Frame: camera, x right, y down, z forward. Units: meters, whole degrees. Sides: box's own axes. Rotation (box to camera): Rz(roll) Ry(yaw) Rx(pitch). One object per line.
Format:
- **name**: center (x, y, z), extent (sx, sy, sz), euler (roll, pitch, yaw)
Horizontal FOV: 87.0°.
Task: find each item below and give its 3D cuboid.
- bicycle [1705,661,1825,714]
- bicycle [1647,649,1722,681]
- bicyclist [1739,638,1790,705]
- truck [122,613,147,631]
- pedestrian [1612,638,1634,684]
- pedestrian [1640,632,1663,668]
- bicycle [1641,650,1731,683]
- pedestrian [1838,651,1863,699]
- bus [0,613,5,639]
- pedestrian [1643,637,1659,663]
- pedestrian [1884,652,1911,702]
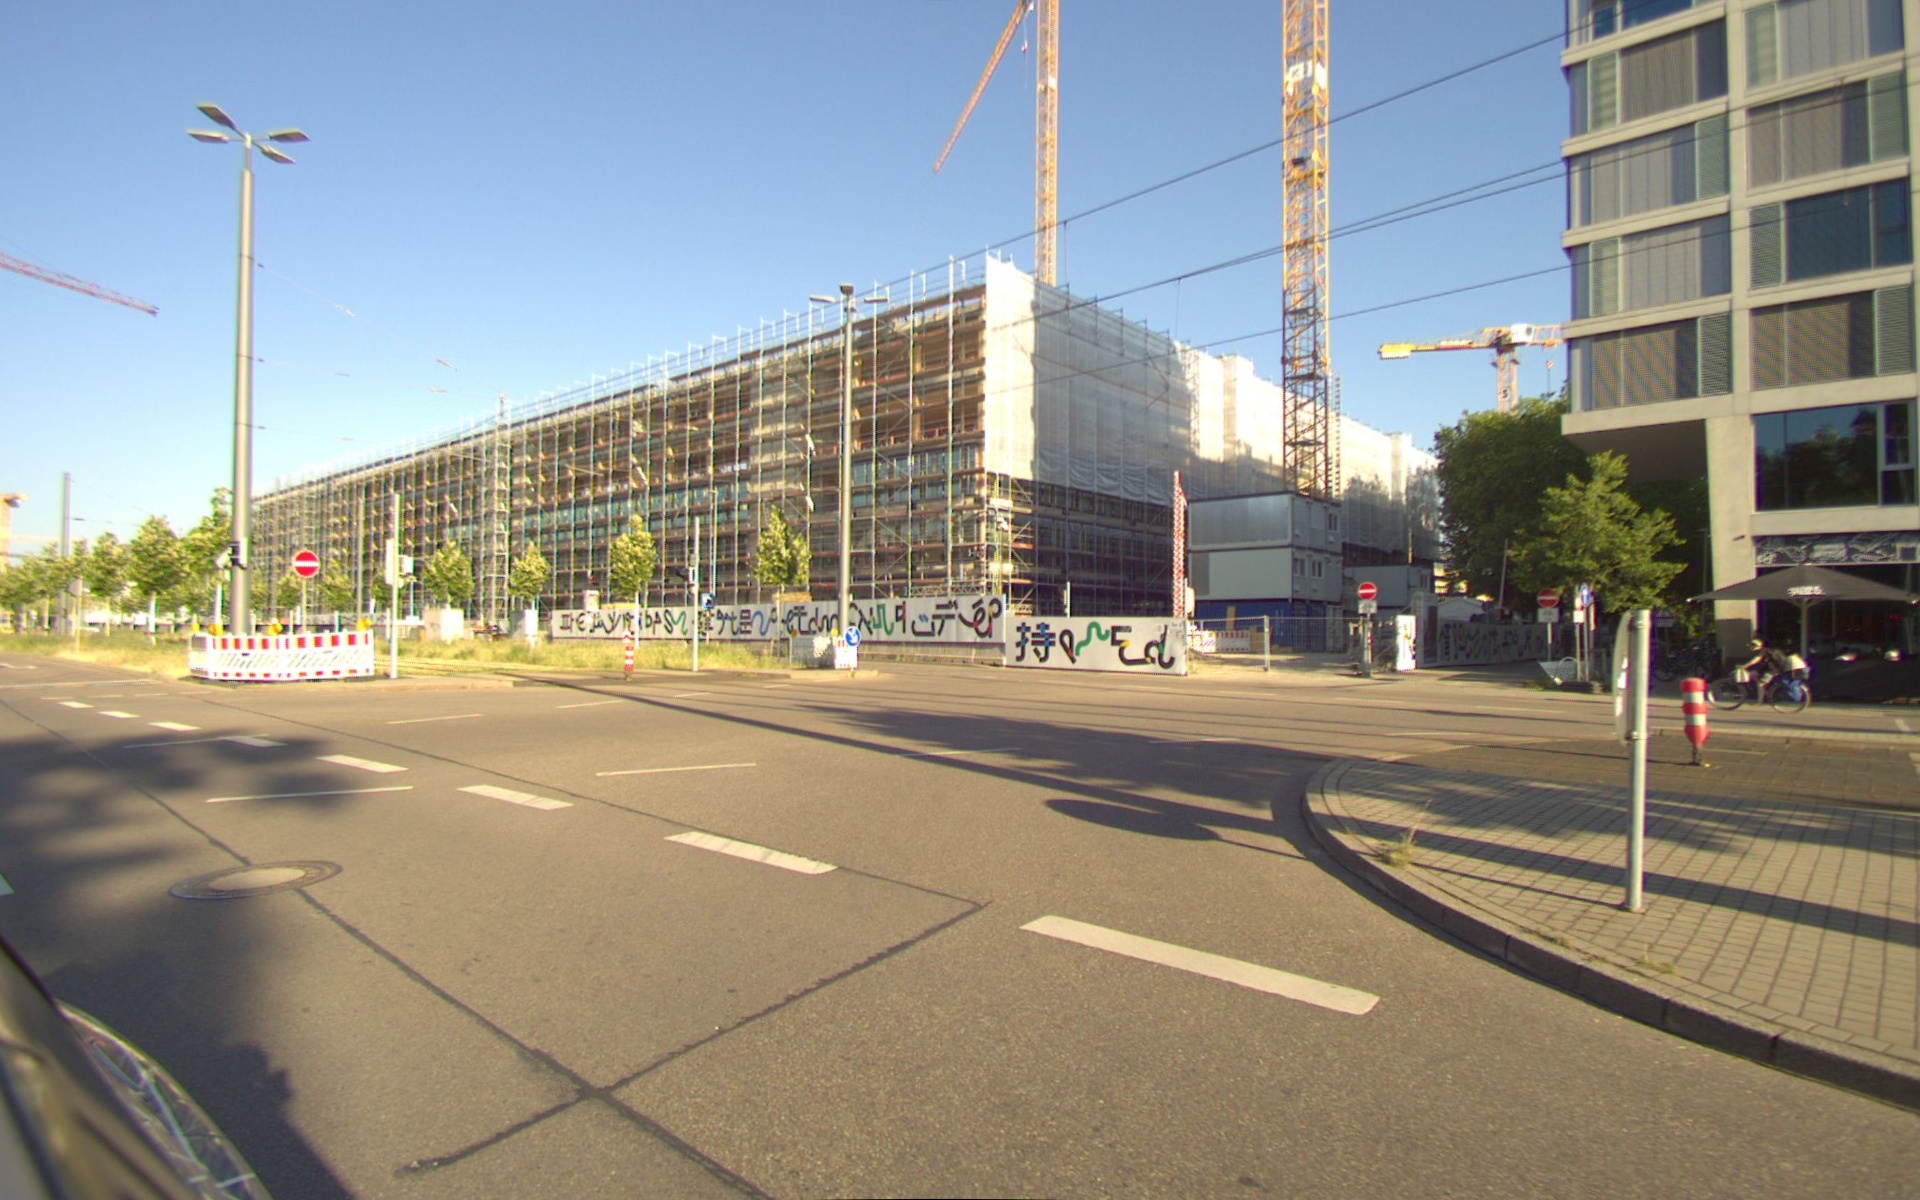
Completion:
- **bicycle**: center (18.175, 1.952, 22.882), extent (2.077, 1.075, 0.618), euler (-1, -2, 42)
- **bicycle**: center (22.946, 2.037, 32.065), extent (1.900, 0.943, 0.530), euler (-1, -2, 41)
- **bicyclist**: center (18.188, 1.594, 22.879), extent (0.851, 1.476, 0.618), euler (-1, -2, 42)
- **truck**: center (-120.050, 3.205, 147.203), extent (4.740, 2.593, 2.114), euler (-2, -3, 43)
- **pedestrian**: center (22.051, 2.012, 33.661), extent (0.575, 1.510, 0.581), euler (-1, -2, 35)
- **pedestrian**: center (30.164, 2.186, 44.129), extent (0.574, 1.547, 0.705), euler (2, -2, -42)
- **bicycle**: center (22.425, 2.032, 31.276), extent (2.215, 0.943, 0.612), euler (-1, -2, 41)
- **pedestrian**: center (22.698, 1.910, 25.797), extent (0.432, 1.203, 0.360), euler (-1, -2, 38)
- **bus**: center (-121.928, 3.249, 127.115), extent (2.685, 3.247, 8.663), euler (2, -3, -43)
- **pedestrian**: center (41.710, 3.022, 61.096), extent (0.711, 1.559, 0.669), euler (-1, -3, 43)
- **pedestrian**: center (23.066, 1.895, 24.896), extent (0.432, 1.203, 0.360), euler (-1, -2, 38)
